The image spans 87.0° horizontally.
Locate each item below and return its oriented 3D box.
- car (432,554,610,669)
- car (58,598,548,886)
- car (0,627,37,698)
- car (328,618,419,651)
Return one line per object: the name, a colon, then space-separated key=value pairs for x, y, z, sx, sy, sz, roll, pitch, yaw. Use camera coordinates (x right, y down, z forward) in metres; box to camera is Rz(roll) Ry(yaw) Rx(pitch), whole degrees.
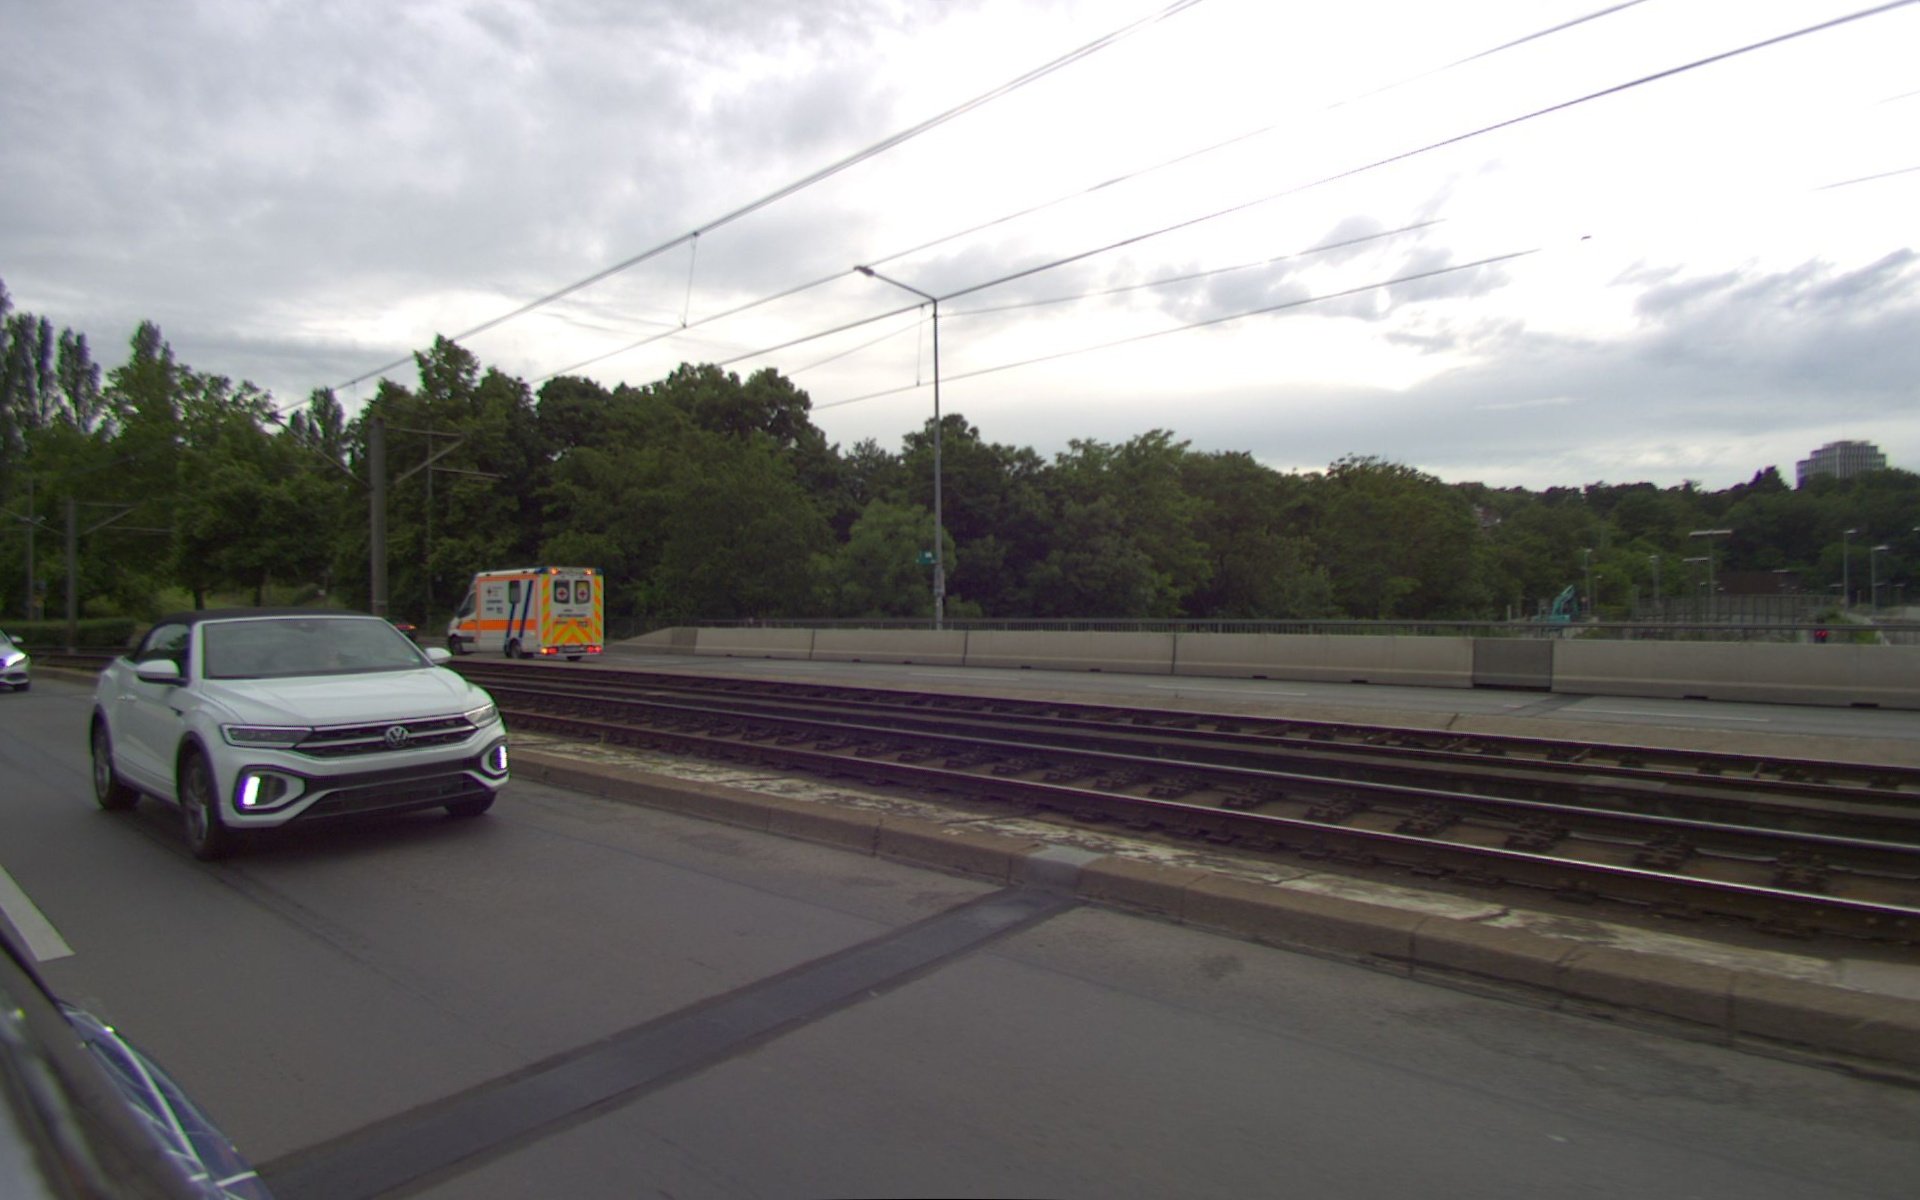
car: x=-13.368 y=0.354 z=30.597 sx=6.352 sy=3.139 sz=2.365 roll=-1 pitch=0 yaw=41
car: x=-5.124 y=0.806 z=7.612 sx=4.536 sy=1.535 sz=1.852 roll=-2 pitch=-1 yaw=40
car: x=-20.201 y=1.243 z=20.299 sx=4.054 sy=1.366 sz=1.849 roll=-2 pitch=-2 yaw=38
car: x=-26.307 y=1.563 z=45.331 sx=4.610 sy=1.324 sz=1.820 roll=-2 pitch=0 yaw=37
